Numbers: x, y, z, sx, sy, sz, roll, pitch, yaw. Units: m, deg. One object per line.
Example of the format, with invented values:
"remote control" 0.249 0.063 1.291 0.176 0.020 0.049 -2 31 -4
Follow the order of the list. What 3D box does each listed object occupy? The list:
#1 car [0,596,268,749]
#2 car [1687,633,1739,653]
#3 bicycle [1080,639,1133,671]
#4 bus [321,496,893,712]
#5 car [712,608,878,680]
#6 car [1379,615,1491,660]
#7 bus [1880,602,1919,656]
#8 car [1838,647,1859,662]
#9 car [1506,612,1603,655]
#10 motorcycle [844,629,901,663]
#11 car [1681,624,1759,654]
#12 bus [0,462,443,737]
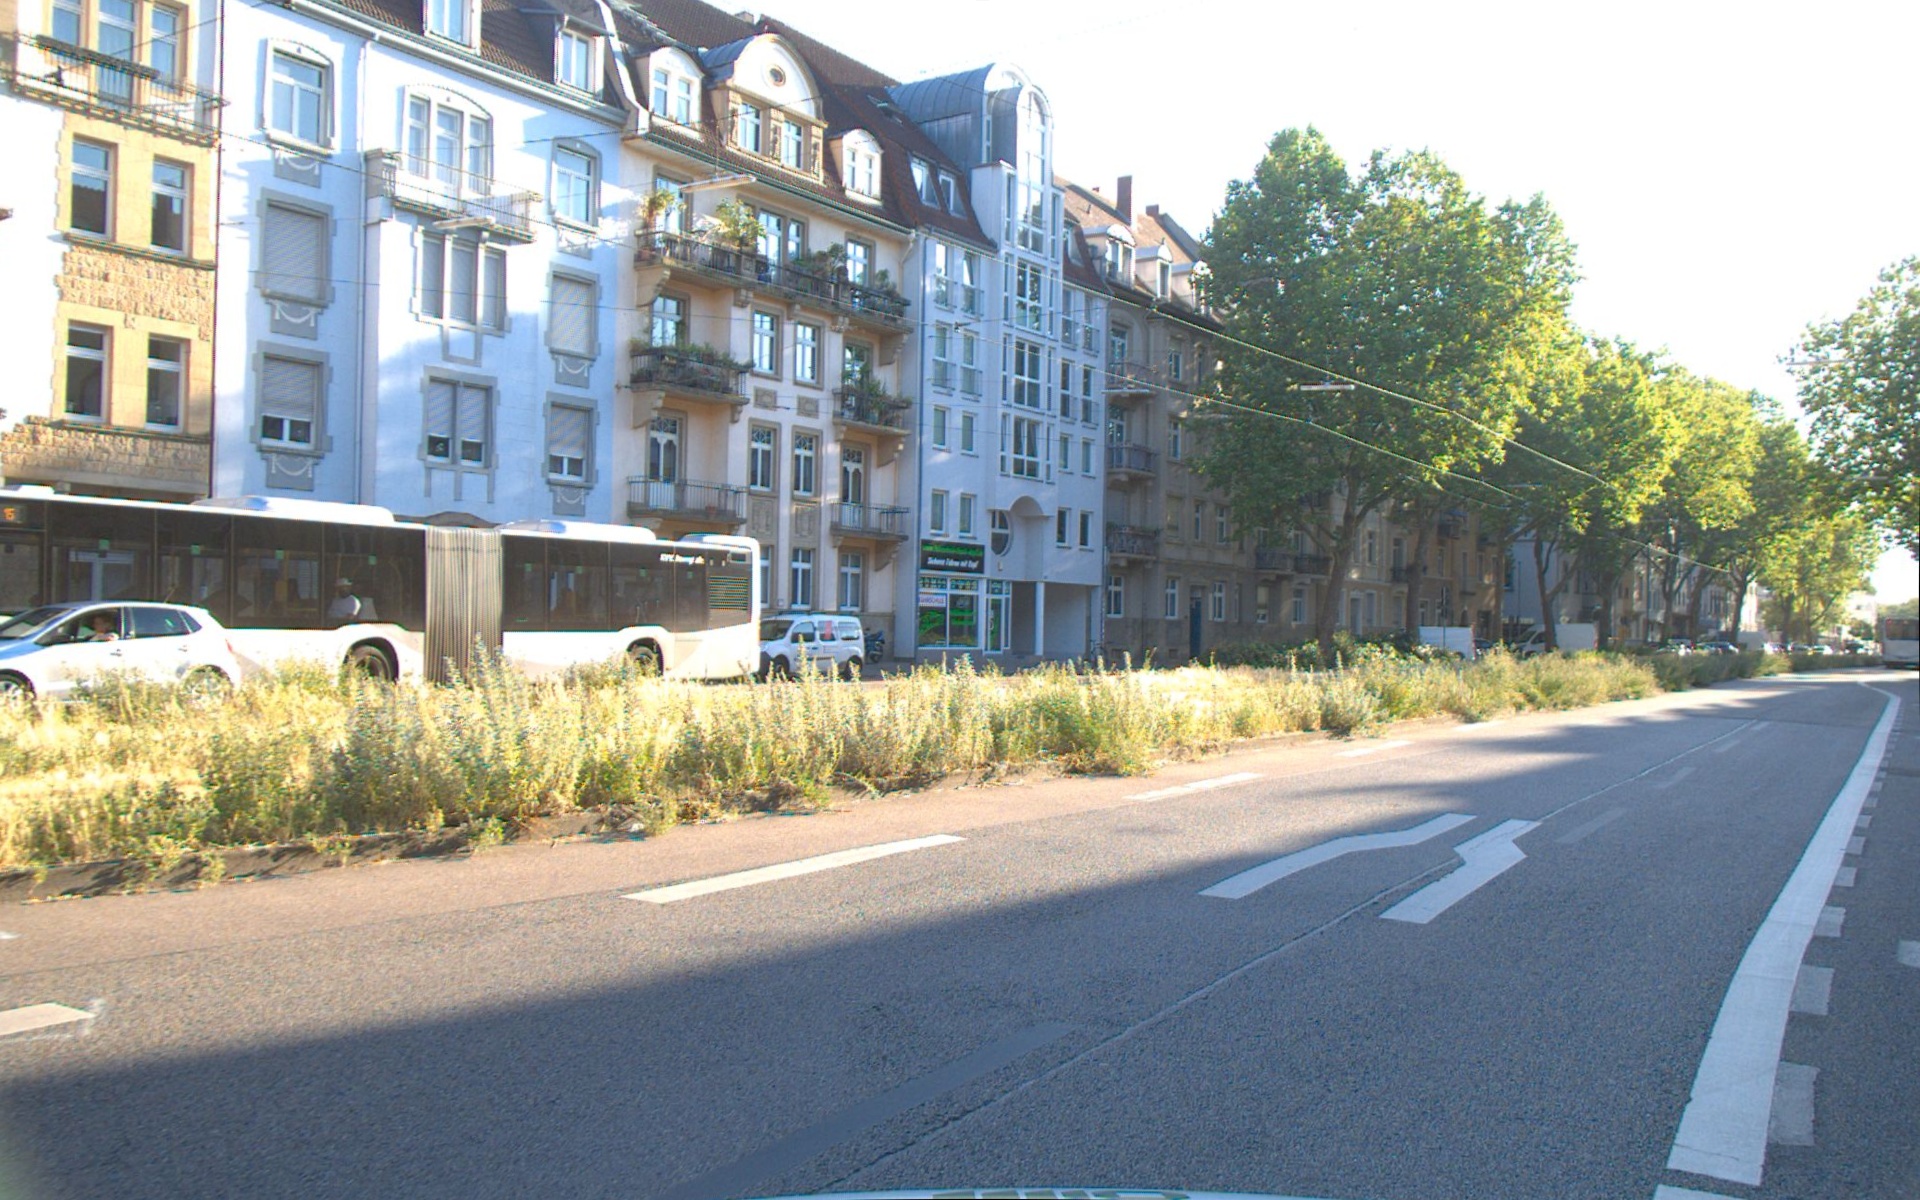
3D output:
"car" -10.798 0.853 20.086 1.898 1.713 3.983 0 -2 37
"car" 68.843 3.934 151.317 3.904 1.729 1.857 -1 -2 2
"bicycle" 5.315 2.004 59.920 1.879 1.050 0.748 3 3 -43
"bus" -6.143 0.259 32.080 3.198 3.433 11.937 0 -2 34
"car" -4.389 1.205 44.653 1.872 1.818 4.636 0 -2 35
"car" 23.834 1.880 83.079 5.132 2.102 1.718 1 -1 -9
"bus" 61.546 1.938 107.498 2.781 3.292 8.163 0 -2 31
"car" 102.544 6.309 190.899 1.835 1.723 4.763 0 -2 32
"car" 37.461 2.112 104.316 5.388 2.573 2.122 1 -1 -8
"motorcycle" -2.832 1.494 53.728 0.518 1.039 2.413 3 1 33
"car" 75.861 3.888 165.154 6.790 2.725 2.187 1 -2 13
"bus" -12.330 0.040 23.034 3.209 3.433 9.865 0 -2 34
